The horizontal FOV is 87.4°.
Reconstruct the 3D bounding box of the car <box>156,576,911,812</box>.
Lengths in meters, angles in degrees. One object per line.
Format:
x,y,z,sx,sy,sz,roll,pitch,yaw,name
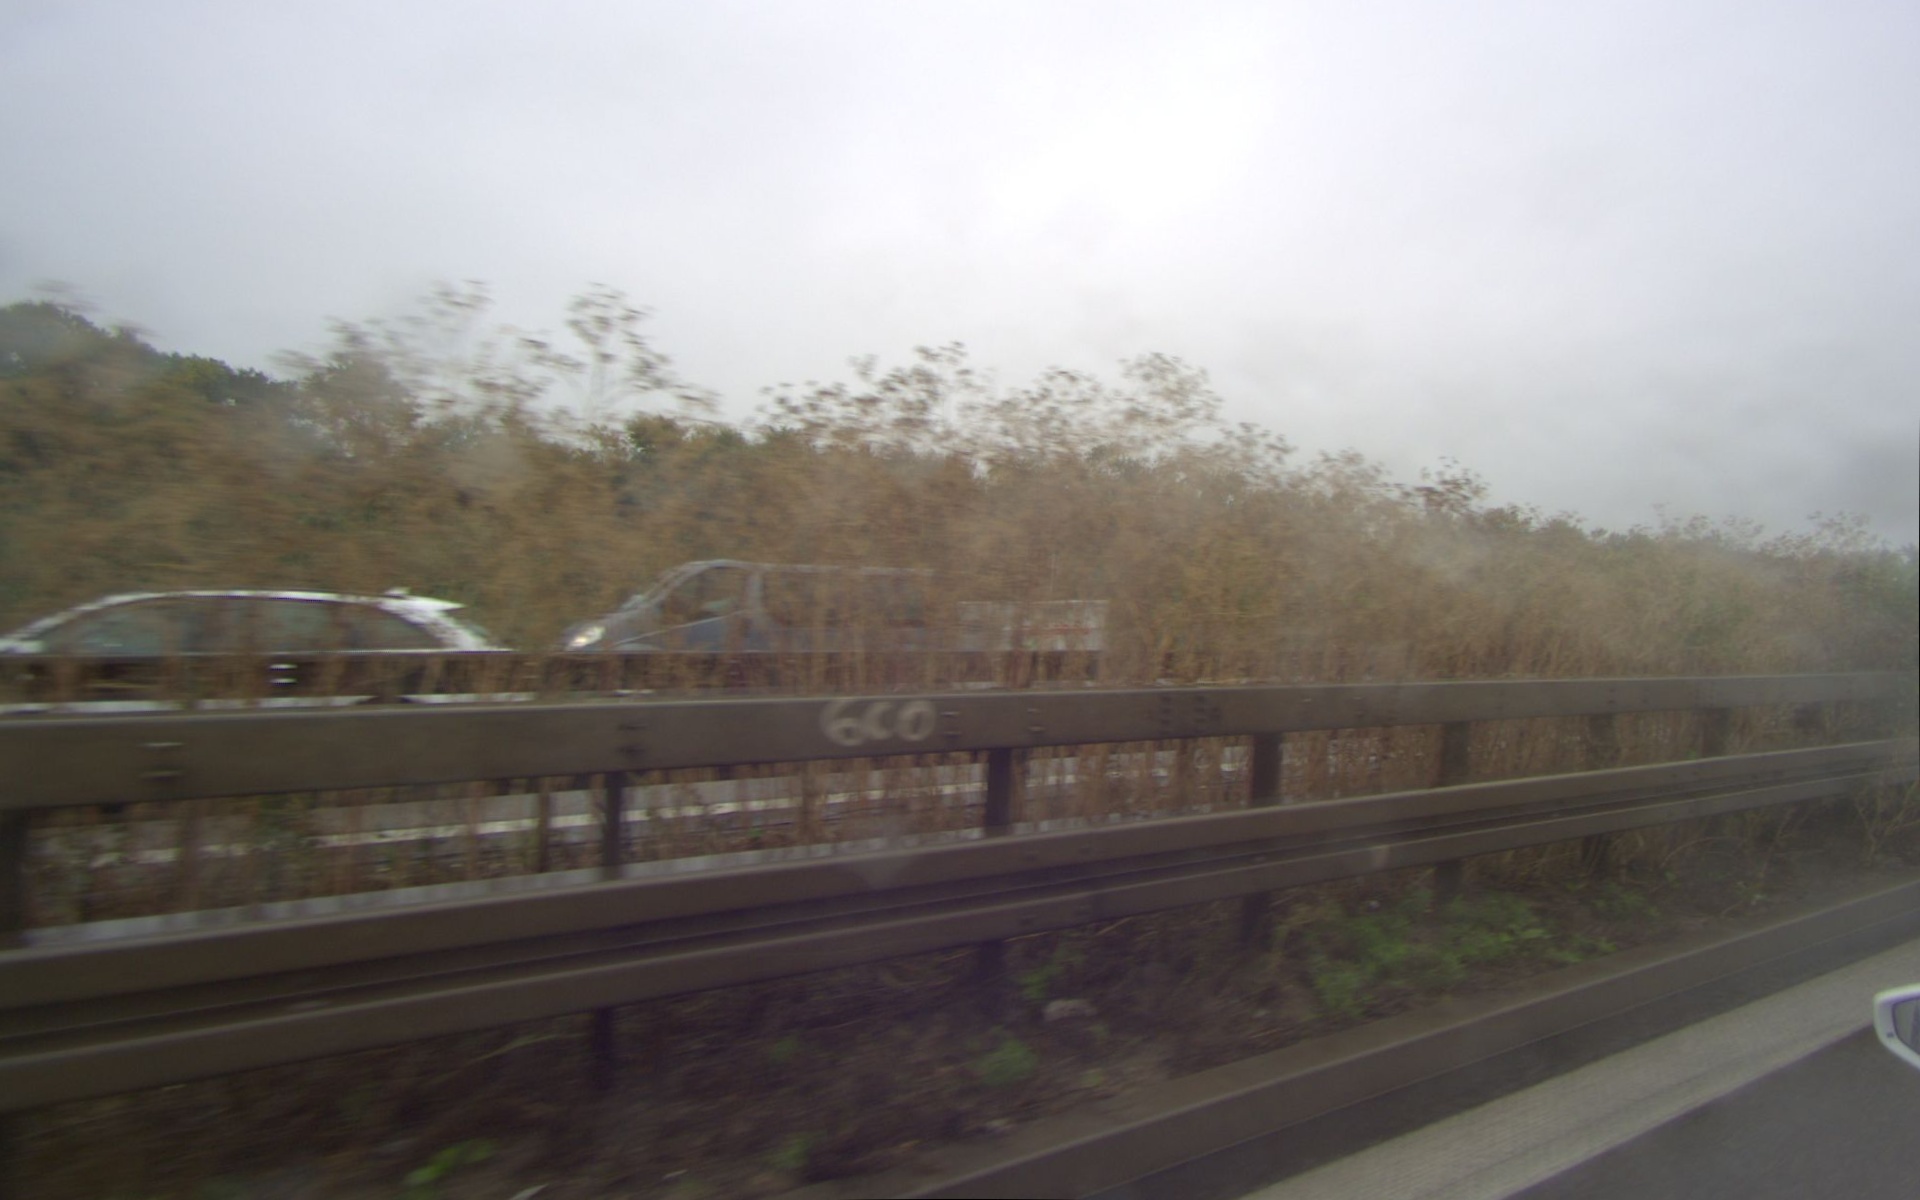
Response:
-3.223,0.657,8.493,5.344,1.450,1.982,2,-1,-33,car

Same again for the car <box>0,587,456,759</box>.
-9.707,0.875,13.177,5.344,1.938,1.982,2,-1,-33,car

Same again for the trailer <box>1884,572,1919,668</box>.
48.291,1.066,48.180,12.798,4.277,2.504,2,-1,-32,trailer

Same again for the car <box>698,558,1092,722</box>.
-0.770,0.552,14.288,5.350,1.938,1.980,2,-1,-36,car
